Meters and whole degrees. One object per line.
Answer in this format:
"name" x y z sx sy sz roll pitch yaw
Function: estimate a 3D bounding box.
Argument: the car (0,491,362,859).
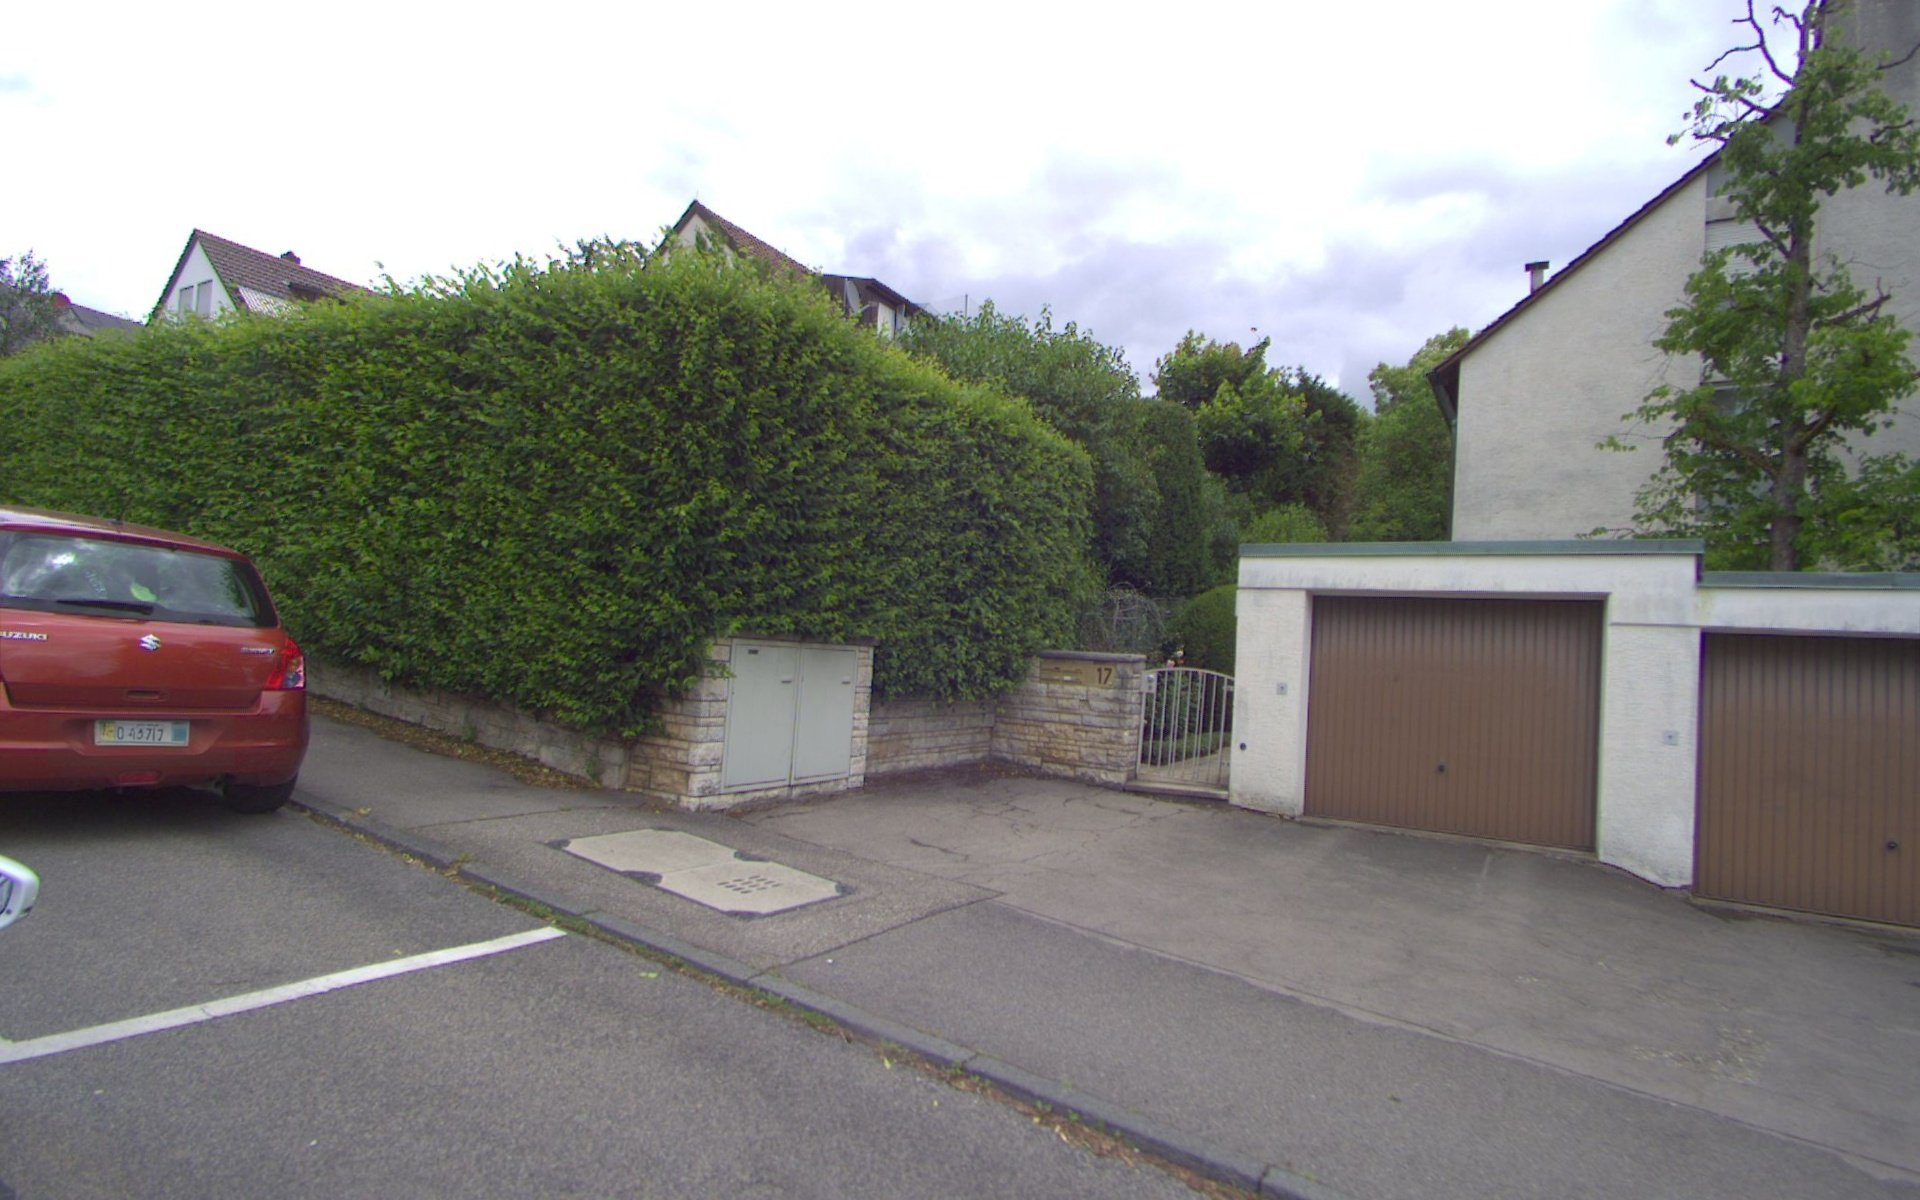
"car" -5.243 0.194 5.601 3.696 1.526 1.663 6 -1 32
